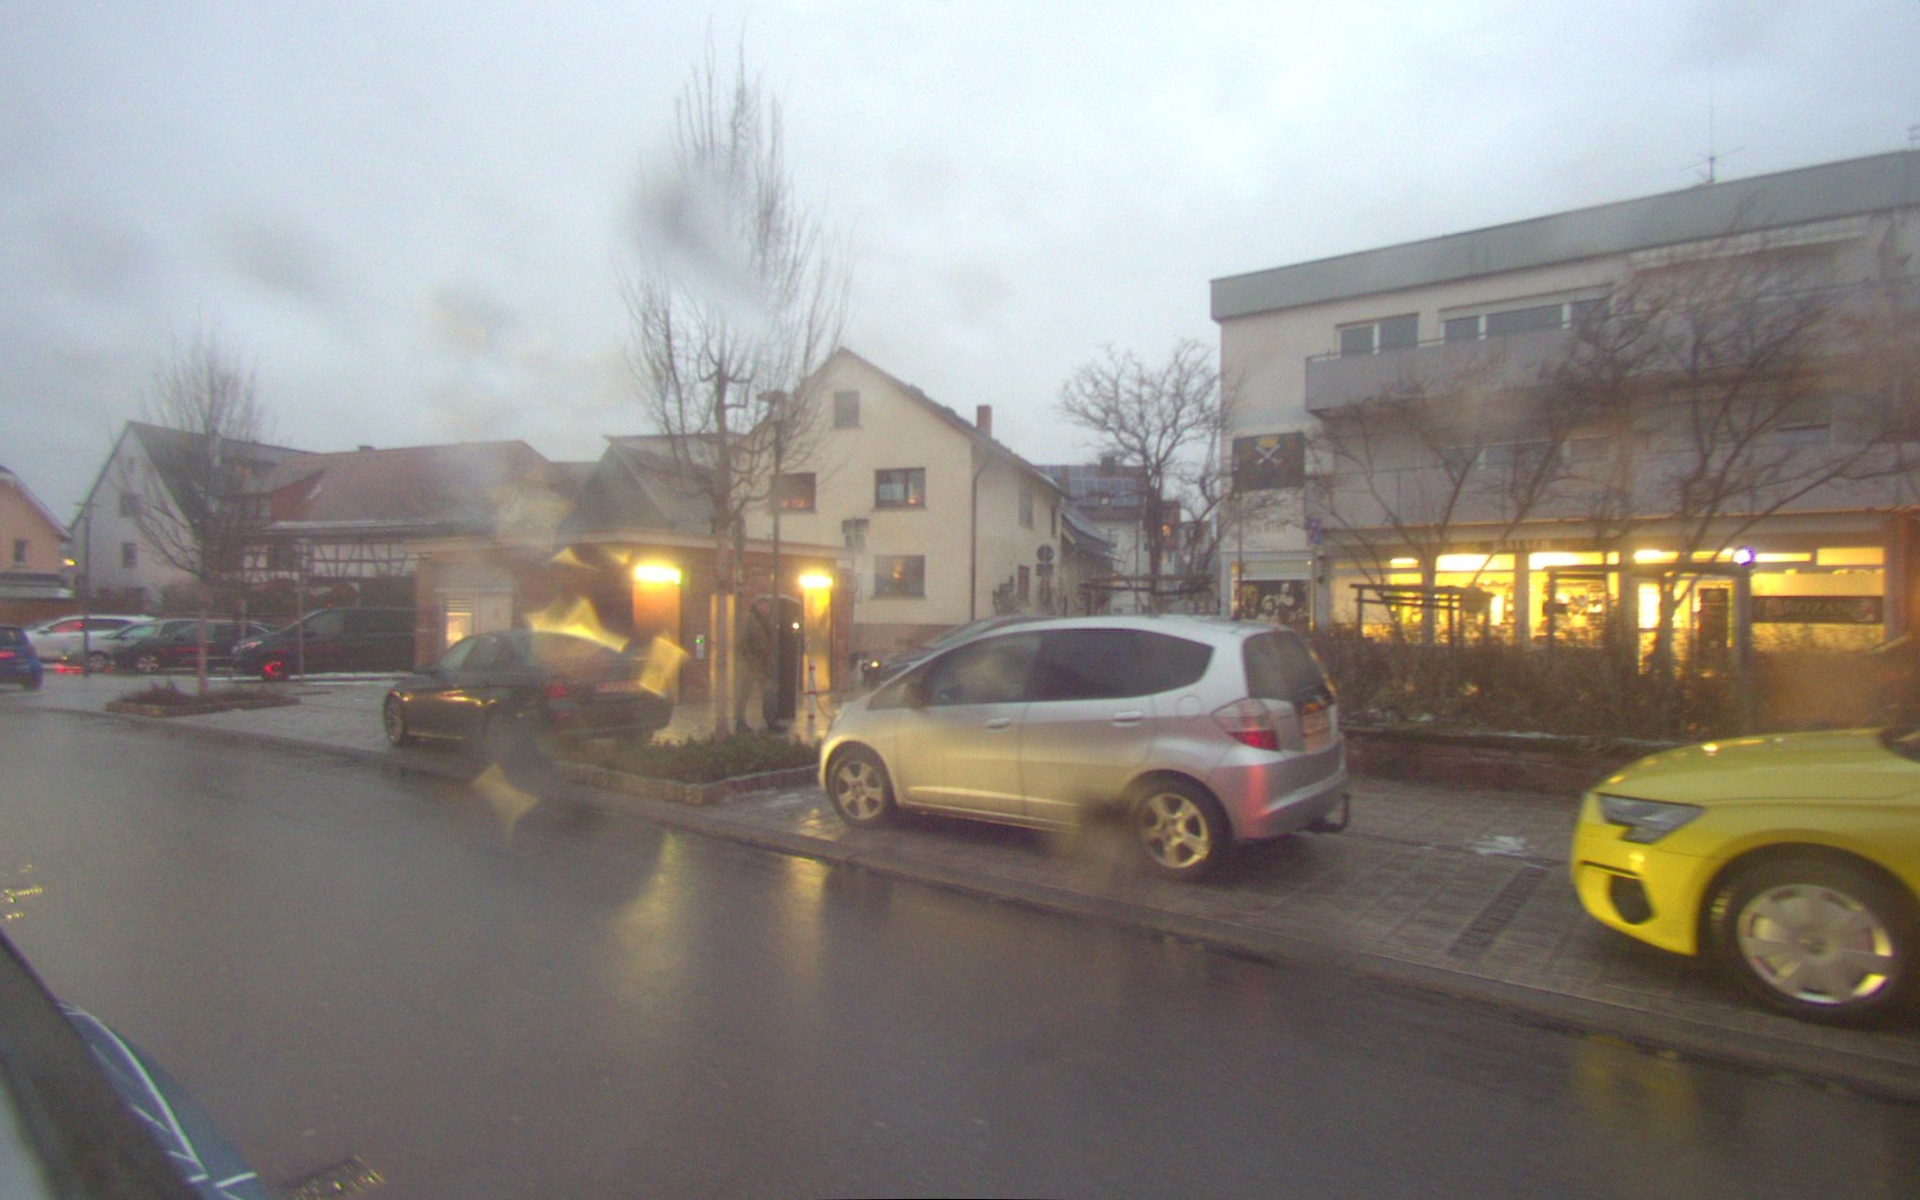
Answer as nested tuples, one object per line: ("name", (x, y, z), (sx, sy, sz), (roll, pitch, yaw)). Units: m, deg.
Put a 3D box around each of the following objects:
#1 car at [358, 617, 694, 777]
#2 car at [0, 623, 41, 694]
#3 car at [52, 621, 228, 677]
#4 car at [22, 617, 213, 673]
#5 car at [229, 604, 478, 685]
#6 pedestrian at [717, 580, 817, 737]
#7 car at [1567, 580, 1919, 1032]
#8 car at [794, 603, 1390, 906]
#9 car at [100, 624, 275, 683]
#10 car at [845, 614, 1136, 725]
("car", (-5.157, 0.975, 11.736), (4.454, 1.483, 1.729), (-1, 0, 39))
("car", (-22.808, 1.315, 23.058), (3.662, 1.547, 1.820), (-1, -1, 31))
("car", (-24.871, 1.459, 30.809), (4.049, 1.594, 1.723), (2, -3, -41))
("car", (-27.062, 1.412, 32.669), (4.583, 1.666, 1.991), (1, -2, -41))
("car", (-15.566, 1.142, 26.171), (5.307, 1.900, 2.079), (2, -3, -34))
("pedestrian", (-2.435, 0.712, 12.738), (1.060, 1.881, 0.746), (-2, -2, 41))
("car", (4.671, 0.670, 3.318), (4.341, 1.527, 1.730), (-1, 0, 42))
("car", (0.761, 0.826, 7.015), (3.768, 1.528, 1.676), (-1, 0, 38))
("car", (-22.415, 1.507, 29.538), (3.934, 1.541, 2.004), (0, -1, -37))
("car", (0.479, 1.001, 15.235), (4.018, 1.488, 1.745), (1, -3, -26))
